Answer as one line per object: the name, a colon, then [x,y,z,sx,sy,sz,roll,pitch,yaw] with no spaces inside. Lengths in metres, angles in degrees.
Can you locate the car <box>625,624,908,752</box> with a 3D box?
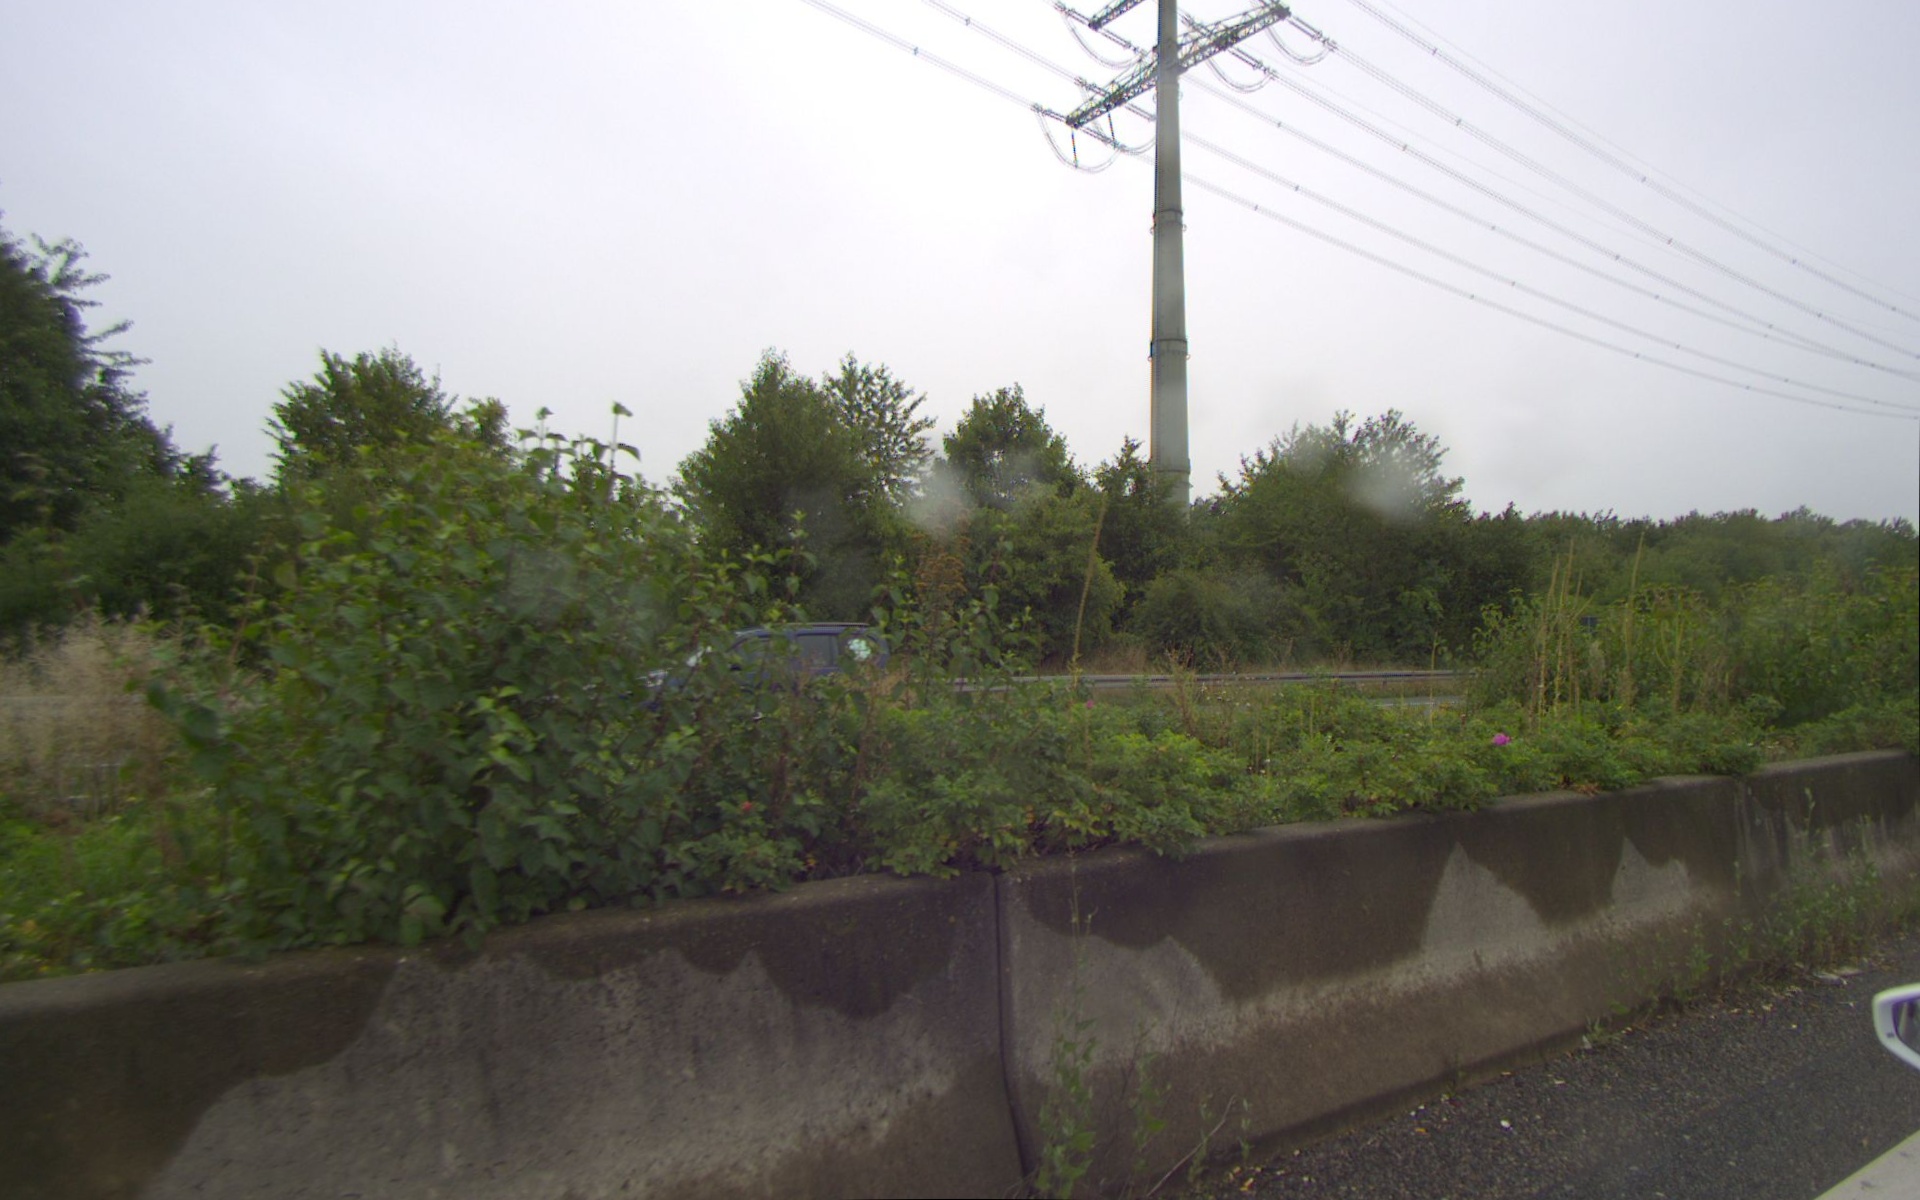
car: [-3.019,1.296,15.800,3.953,1.771,1.984,2,-2,-30]
